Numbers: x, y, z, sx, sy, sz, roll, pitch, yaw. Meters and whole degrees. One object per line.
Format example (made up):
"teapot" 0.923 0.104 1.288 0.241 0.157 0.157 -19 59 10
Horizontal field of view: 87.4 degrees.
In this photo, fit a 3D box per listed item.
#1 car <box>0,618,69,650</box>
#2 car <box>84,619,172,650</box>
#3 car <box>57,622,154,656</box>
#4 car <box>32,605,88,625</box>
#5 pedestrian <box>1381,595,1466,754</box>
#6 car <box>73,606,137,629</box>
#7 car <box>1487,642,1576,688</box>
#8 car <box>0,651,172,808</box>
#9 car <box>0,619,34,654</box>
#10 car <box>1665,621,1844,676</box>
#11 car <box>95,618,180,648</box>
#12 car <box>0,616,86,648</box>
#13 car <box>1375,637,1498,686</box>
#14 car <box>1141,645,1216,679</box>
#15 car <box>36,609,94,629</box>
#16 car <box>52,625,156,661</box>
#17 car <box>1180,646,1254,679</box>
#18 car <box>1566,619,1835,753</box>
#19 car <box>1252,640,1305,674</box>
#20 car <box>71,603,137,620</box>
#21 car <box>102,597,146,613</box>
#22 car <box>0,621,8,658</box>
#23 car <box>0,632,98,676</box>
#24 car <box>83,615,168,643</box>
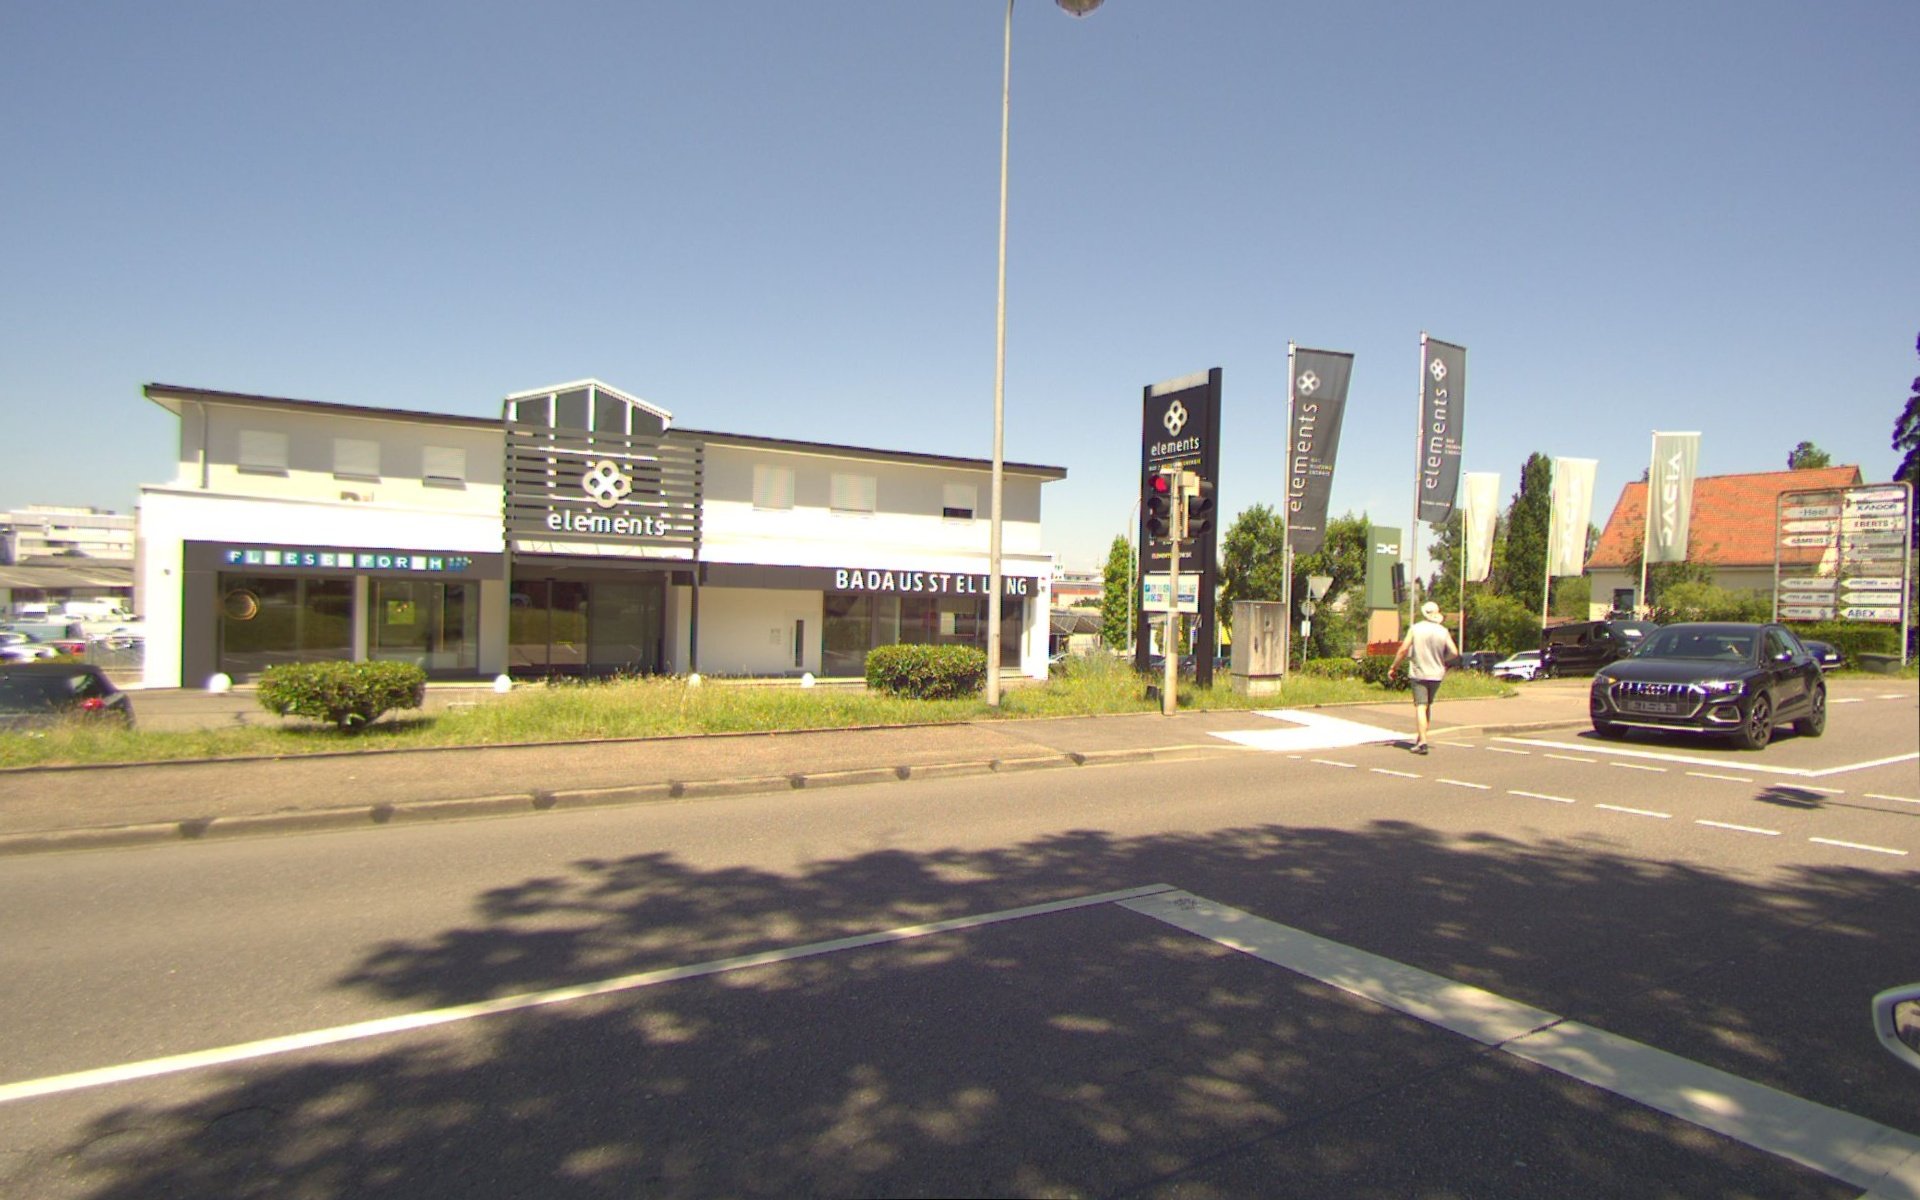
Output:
"car" -53.389 1.937 57.130 3.726 1.778 1.719 2 -1 -28
"car" -49.443 2.075 59.763 3.726 1.778 1.719 2 -1 -28
"car" -46.995 2.130 55.362 3.726 1.778 1.719 2 -1 -28
"car" -87.915 1.498 98.189 3.726 1.778 1.719 1 2 -28
"pedestrian" 5.353 0.846 11.619 0.689 1.785 0.545 1 0 -4
"car" -71.044 1.470 83.506 3.726 1.778 1.719 2 0 -28
"car" 23.964 2.687 42.085 4.053 1.744 1.795 2 0 -38
"car" -11.697 1.505 12.700 1.746 1.553 4.076 1 -1 -24
"car" -51.435 1.885 52.784 3.726 1.778 1.719 2 -1 -28
"car" 24.867 1.475 31.611 1.751 1.524 4.129 1 -1 -20
"car" -50.698 2.048 61.998 3.726 1.778 1.719 2 -1 -28
"car" -54.769 1.911 59.809 3.726 1.778 1.719 2 -1 -28
"car" 18.248 2.347 38.503 4.022 1.744 1.808 2 0 -16
"car" 10.912 3.067 50.089 3.973 1.506 1.735 2 -1 -44
"car" -83.419 1.765 93.683 3.724 1.778 1.719 1 3 -27
"car" -43.872 2.205 51.589 3.726 1.778 1.719 2 -1 -28
"car" 12.249 2.946 47.773 3.840 1.434 1.632 2 -1 -43
"car" 10.471 1.099 14.108 4.263 1.576 1.912 2 -1 -37
"car" 18.770 3.323 59.110 1.785 1.744 4.075 2 0 36
"car" -95.745 1.310 112.449 5.236 1.778 2.051 2 -1 -28
"car" -99.816 0.623 119.967 3.726 1.778 1.719 2 -1 -28
"car" -49.216 1.923 48.961 3.726 1.778 1.719 2 -1 -28
"car" -39.678 2.291 43.084 3.726 1.778 1.719 2 -1 -28
"car" -55.313 1.926 66.676 4.004 1.778 1.719 2 -1 -28
